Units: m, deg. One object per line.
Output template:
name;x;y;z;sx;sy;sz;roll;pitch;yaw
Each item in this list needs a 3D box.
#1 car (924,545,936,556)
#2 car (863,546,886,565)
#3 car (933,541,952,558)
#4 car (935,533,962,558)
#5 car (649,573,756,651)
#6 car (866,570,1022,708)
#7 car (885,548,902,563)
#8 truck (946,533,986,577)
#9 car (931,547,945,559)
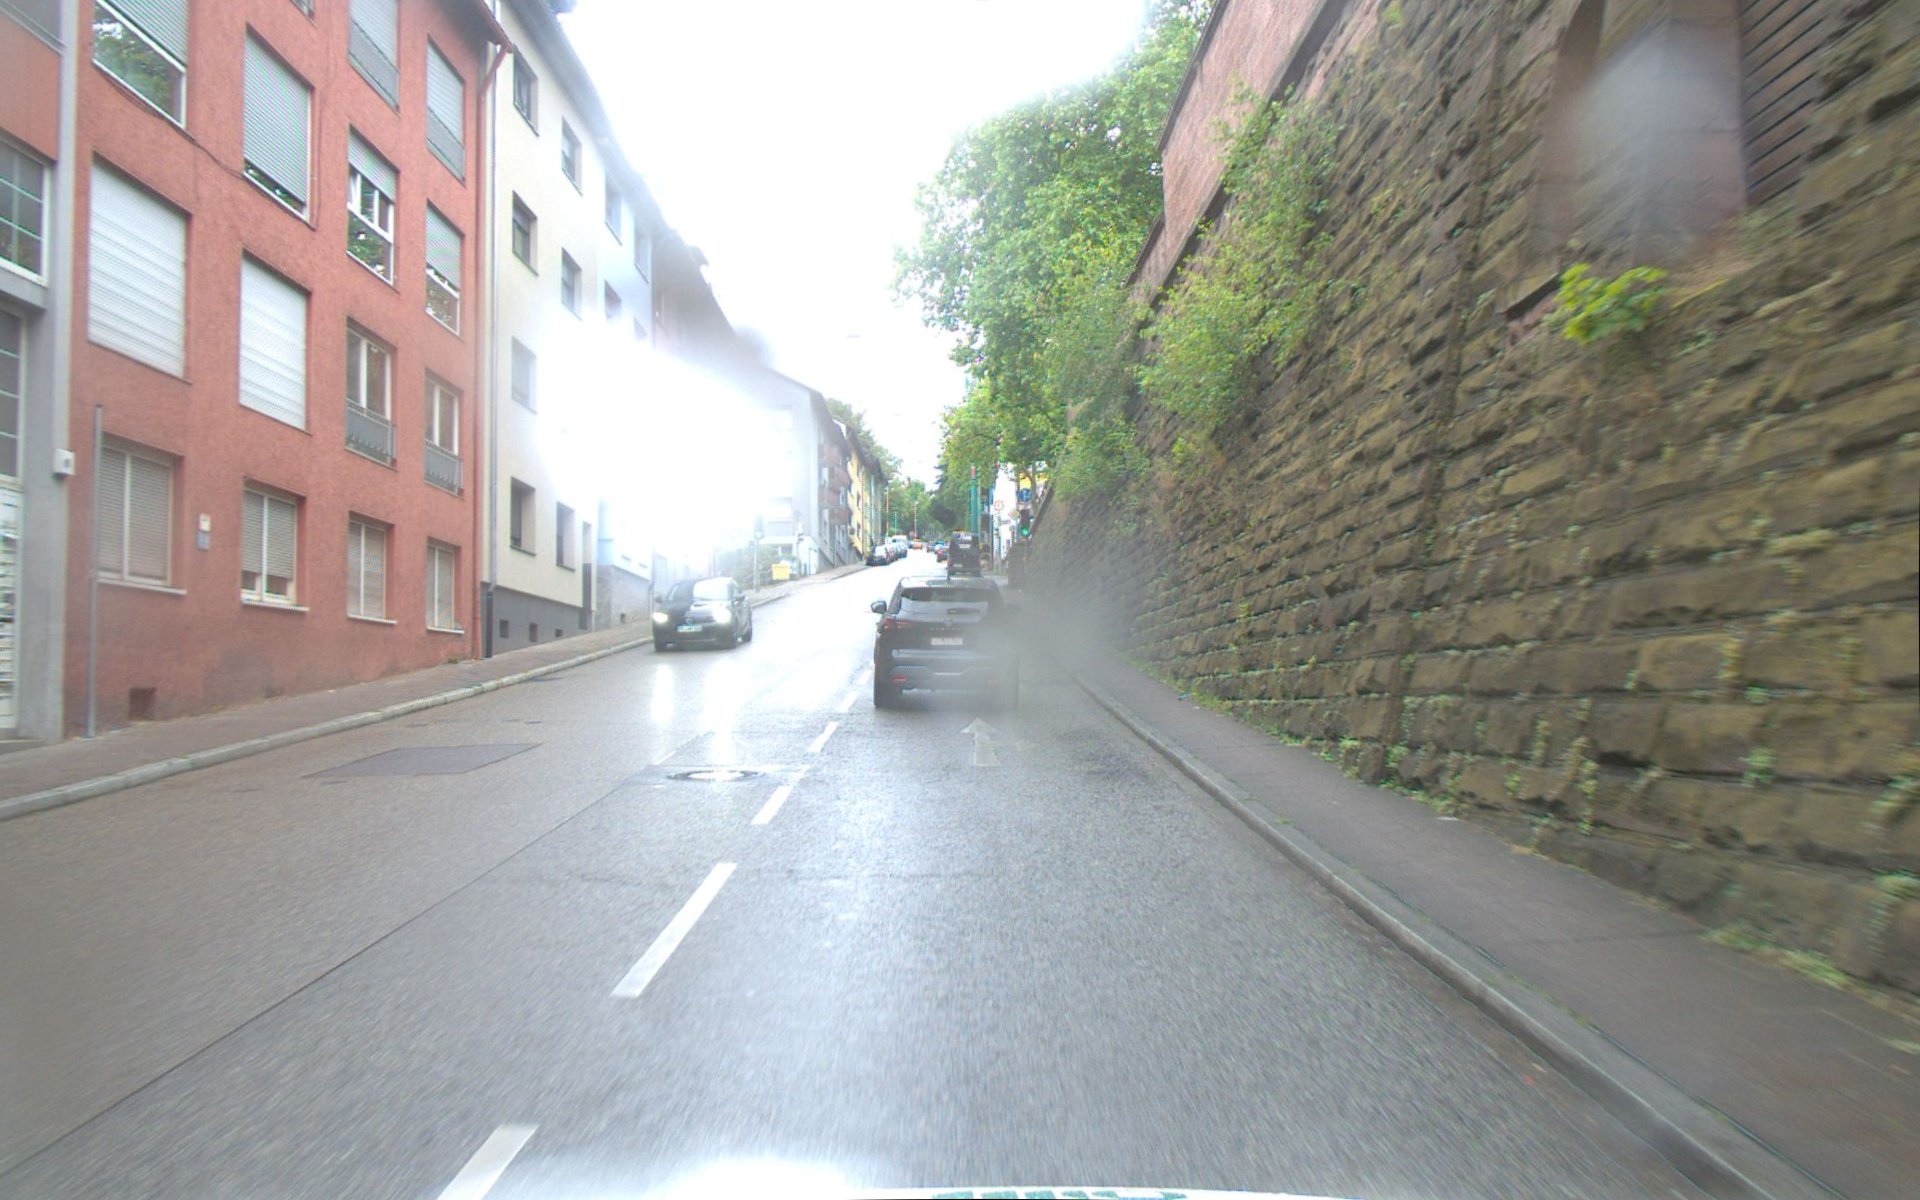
car;-4.471;-7.349;245.765;1.757;1.536;4.000;-1;0;0
car;-7.335;-3.838;142.222;1.757;1.536;4.000;-1;0;0
car;-1.619;-4.723;155.309;1.757;1.536;4.000;-1;0;0
car;-0.763;-3.668;112.401;1.757;1.536;4.500;-1;0;0
car;-5.366;0.210;34.904;1.679;1.473;3.921;-1;2;-1
car;-0.288;0.461;21.587;1.843;1.622;3.919;0;0;-3
car;-7.426;-4.960;185.918;1.757;1.536;4.000;-1;0;0
truck;0.313;-2.640;97.619;2.243;2.482;4.452;-1;0;-1
car;-2.944;-6.244;218.869;1.757;1.536;4.000;-1;0;0
